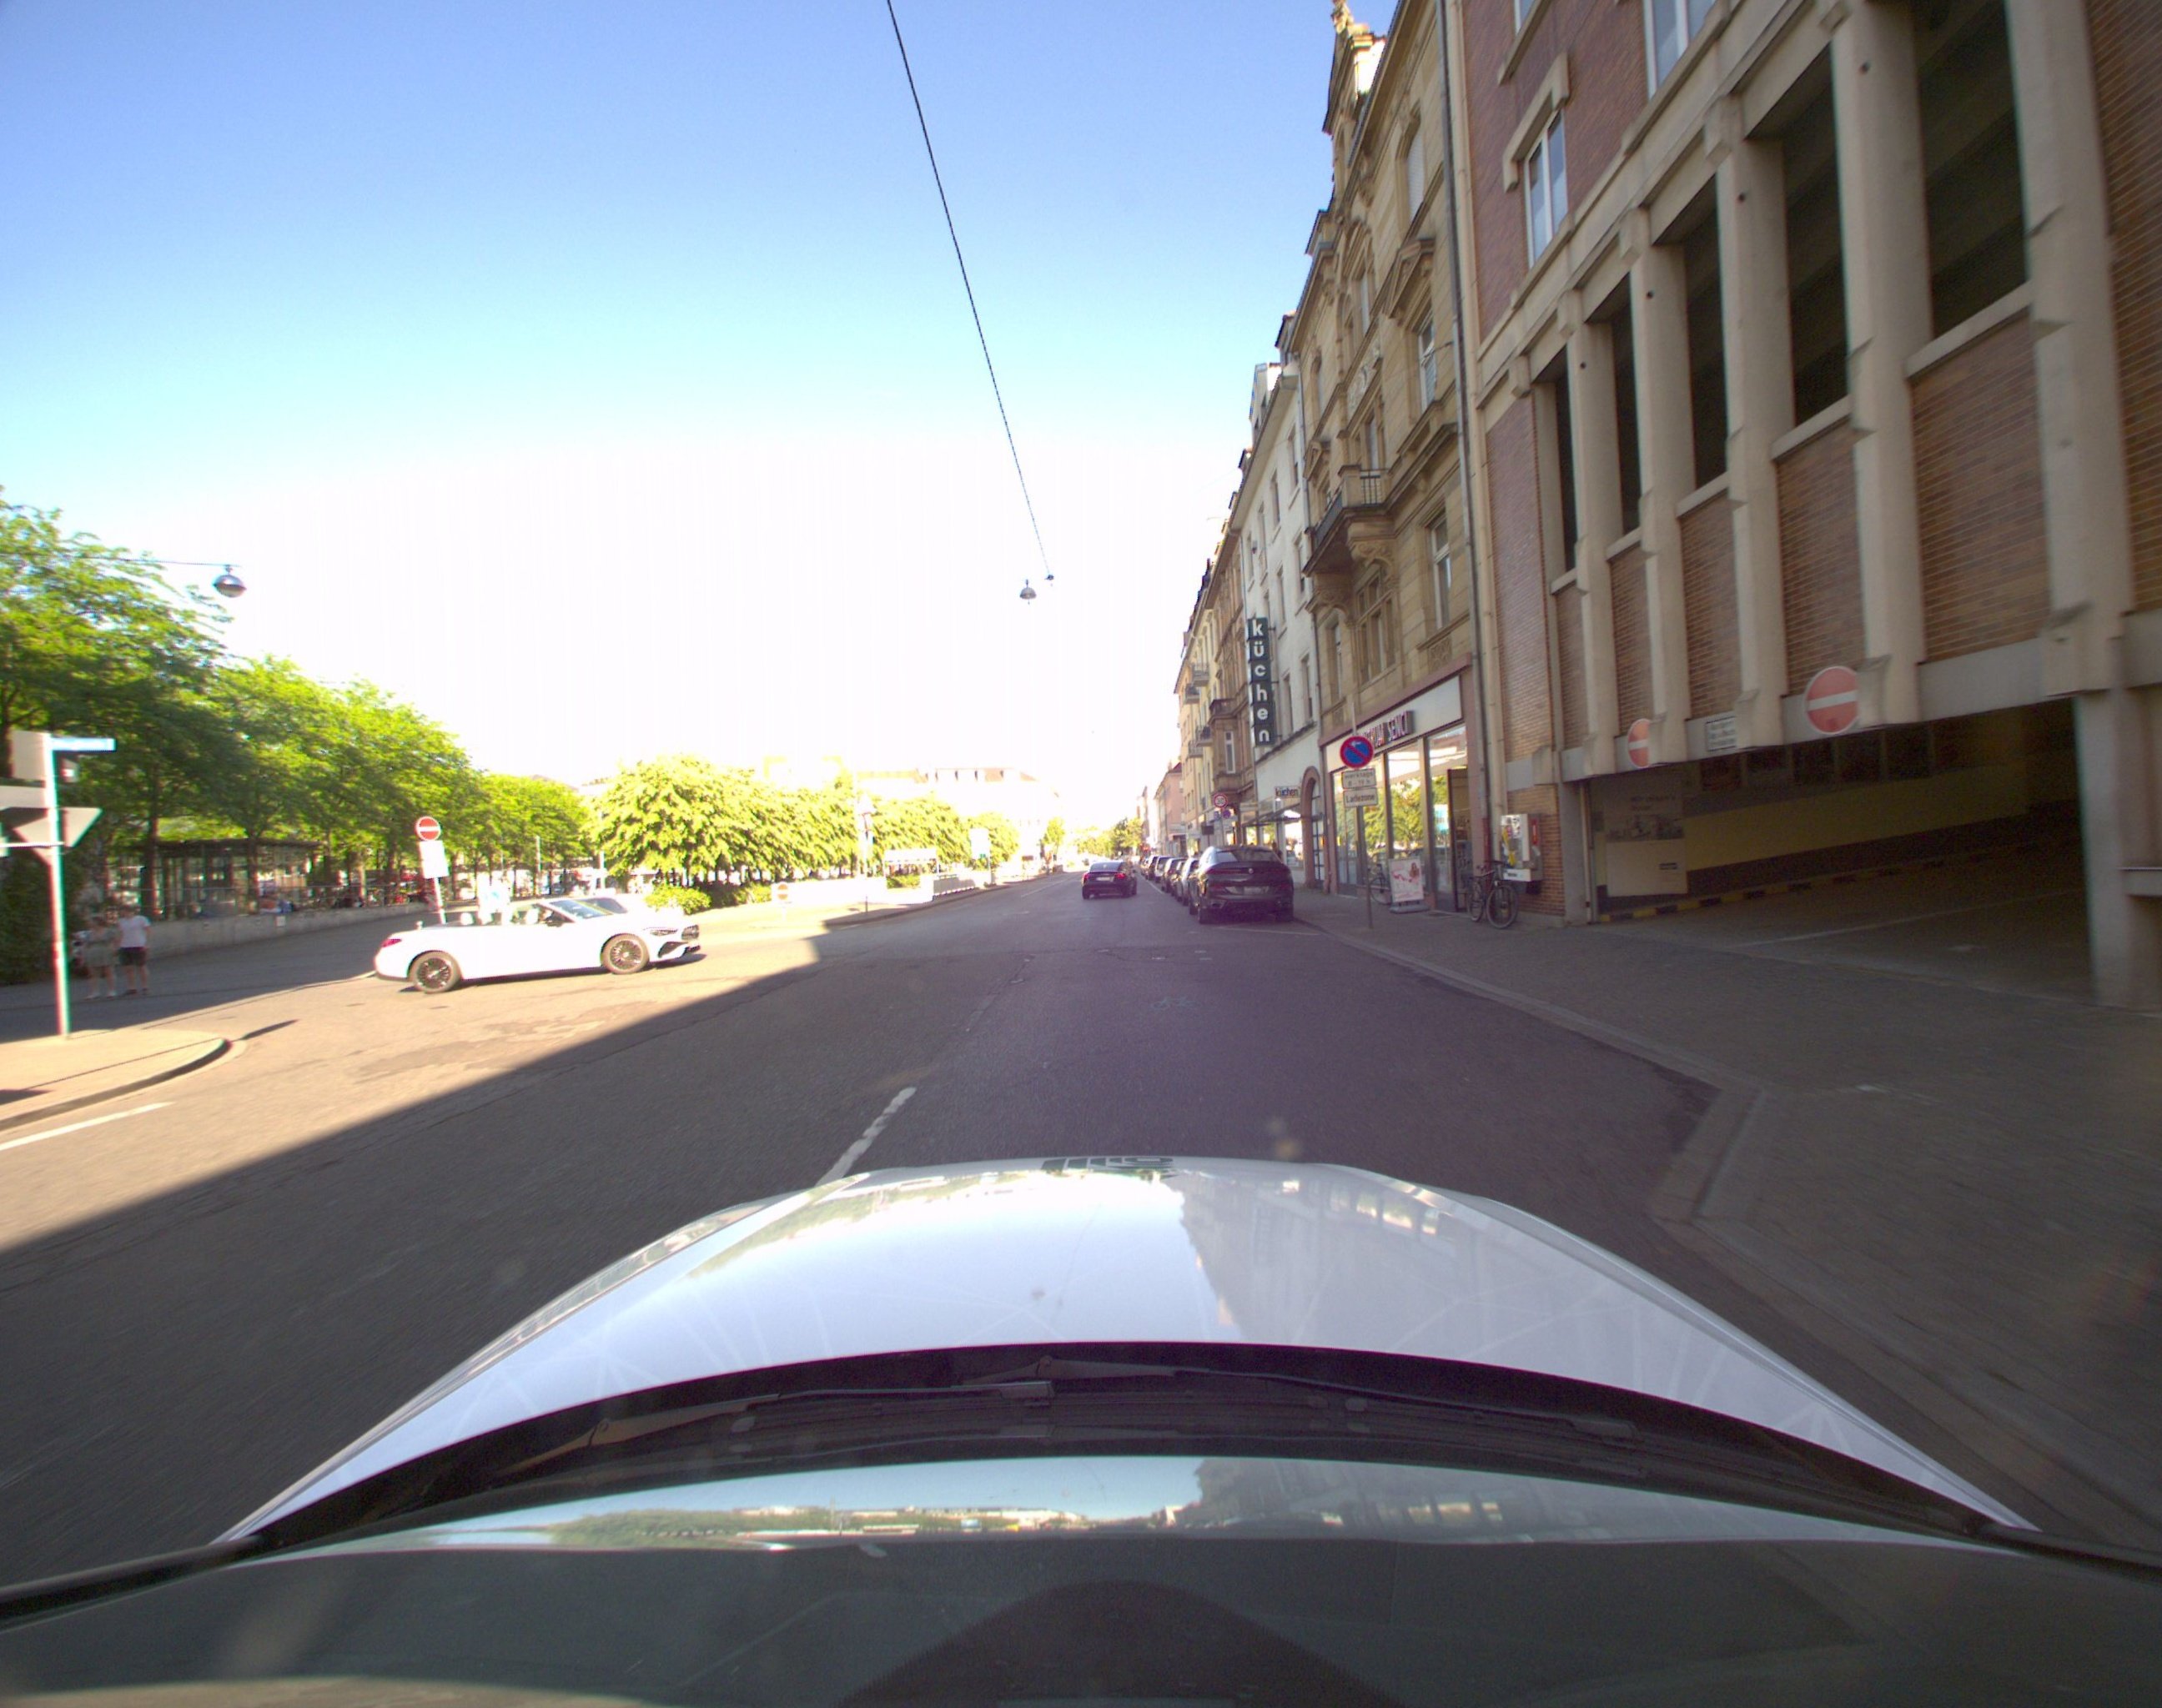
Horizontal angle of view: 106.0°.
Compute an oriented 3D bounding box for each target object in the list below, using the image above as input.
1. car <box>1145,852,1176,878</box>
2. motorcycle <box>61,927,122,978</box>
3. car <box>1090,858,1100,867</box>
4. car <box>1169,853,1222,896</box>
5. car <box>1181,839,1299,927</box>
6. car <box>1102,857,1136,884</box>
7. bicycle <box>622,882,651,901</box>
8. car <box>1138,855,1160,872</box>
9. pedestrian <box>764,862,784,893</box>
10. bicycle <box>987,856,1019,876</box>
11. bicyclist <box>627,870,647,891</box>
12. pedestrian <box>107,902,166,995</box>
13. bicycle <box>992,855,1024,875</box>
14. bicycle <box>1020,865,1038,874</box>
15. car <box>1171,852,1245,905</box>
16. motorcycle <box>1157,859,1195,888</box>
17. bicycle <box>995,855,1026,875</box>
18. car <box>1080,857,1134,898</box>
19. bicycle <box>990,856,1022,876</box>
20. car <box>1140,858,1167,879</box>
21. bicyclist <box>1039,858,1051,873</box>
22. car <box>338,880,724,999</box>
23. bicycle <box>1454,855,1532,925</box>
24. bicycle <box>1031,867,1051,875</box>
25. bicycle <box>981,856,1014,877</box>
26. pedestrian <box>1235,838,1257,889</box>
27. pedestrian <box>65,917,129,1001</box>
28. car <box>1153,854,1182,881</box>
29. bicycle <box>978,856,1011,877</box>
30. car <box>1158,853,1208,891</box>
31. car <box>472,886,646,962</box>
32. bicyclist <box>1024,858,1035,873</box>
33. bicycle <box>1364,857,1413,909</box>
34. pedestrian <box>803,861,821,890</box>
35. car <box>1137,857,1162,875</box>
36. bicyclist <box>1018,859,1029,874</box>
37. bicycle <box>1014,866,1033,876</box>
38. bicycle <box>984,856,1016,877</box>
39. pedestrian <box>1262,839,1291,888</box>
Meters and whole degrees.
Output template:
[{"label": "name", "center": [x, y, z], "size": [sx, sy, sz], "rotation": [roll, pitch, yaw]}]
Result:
[{"label": "car", "center": [5.325, 0.769, 54.653], "size": [1.710, 1.636, 4.084], "rotation": [-2, -1, 1]}, {"label": "motorcycle", "center": [-25.428, 2.535, 20.919], "size": [1.674, 1.208, 0.509], "rotation": [-4, 0, 23]}, {"label": "car", "center": [2.940, 1.690, 170.171], "size": [1.985, 1.772, 4.005], "rotation": [-2, 0, 4]}, {"label": "car", "center": [4.219, 0.732, 30.409], "size": [1.602, 1.449, 3.833], "rotation": [-2, 0, 3]}, {"label": "car", "center": [3.489, 0.566, 18.772], "size": [1.965, 1.725, 4.827], "rotation": [-2, 0, 3]}, {"label": "car", "center": [2.364, 0.961, 49.729], "size": [1.926, 1.487, 4.276], "rotation": [-2, 0, 4]}, {"label": "bicycle", "center": [-37.431, 3.130, 68.582], "size": [0.962, 1.503, 2.686], "rotation": [-2, 0, -2]}, {"label": "car", "center": [5.959, 0.856, 72.191], "size": [1.785, 1.460, 3.870], "rotation": [-2, -1, 3]}, {"label": "pedestrian", "center": [-21.311, 1.627, 56.577], "size": [0.725, 2.108, 0.973], "rotation": [-3, -1, 25]}, {"label": "bicycle", "center": [-8.027, 1.240, 84.048], "size": [3.101, 2.013, 0.912], "rotation": [-2, 0, 11]}, {"label": "bicyclist", "center": [-37.483, 2.235, 68.721], "size": [0.962, 1.700, 1.210], "rotation": [-2, 0, -3]}, {"label": "pedestrian", "center": [-19.472, 1.931, 16.802], "size": [0.589, 1.827, 0.553], "rotation": [-3, -1, -31]}, {"label": "bicycle", "center": [-7.710, 1.194, 86.160], "size": [3.101, 2.013, 0.912], "rotation": [-2, 0, 11]}, {"label": "bicycle", "center": [-6.088, 1.835, 95.356], "size": [2.006, 1.022, 0.762], "rotation": [-3, 0, -1]}, {"label": "car", "center": [3.928, 0.710, 25.795], "size": [1.831, 1.487, 4.187], "rotation": [-2, 0, 3]}, {"label": "motorcycle", "center": [4.713, 0.974, 40.226], "size": [2.056, 1.328, 0.648], "rotation": [-2, -1, -43]}, {"label": "bicycle", "center": [-7.501, 1.176, 87.196], "size": [3.101, 2.013, 0.912], "rotation": [-2, 0, 11]}, {"label": "car", "center": [1.040, 0.918, 32.800], "size": [1.988, 1.480, 4.496], "rotation": [-2, -1, 2]}, {"label": "bicycle", "center": [-7.873, 1.237, 85.126], "size": [3.101, 2.013, 0.912], "rotation": [-2, 0, 11]}, {"label": "car", "center": [5.404, 1.117, 60.930], "size": [1.785, 1.460, 4.087], "rotation": [-2, -1, 3]}, {"label": "bicyclist", "center": [-4.302, 1.365, 97.368], "size": [1.140, 1.686, 0.916], "rotation": [-3, -1, 6]}, {"label": "car", "center": [-9.236, 1.382, 14.182], "size": [5.102, 1.423, 1.993], "rotation": [-4, 0, -11]}, {"label": "bicycle", "center": [6.742, 0.549, 13.408], "size": [0.356, 1.044, 1.792], "rotation": [-5, 0, 2]}, {"label": "bicycle", "center": [-4.818, 1.998, 97.416], "size": [2.232, 0.883, 0.925], "rotation": [-3, 0, 6]}, {"label": "bicycle", "center": [-8.437, 1.247, 82.023], "size": [3.101, 2.013, 0.912], "rotation": [-2, 0, 11]}, {"label": "pedestrian", "center": [5.877, 0.339, 29.003], "size": [0.617, 1.766, 0.519], "rotation": [-3, -1, 5]}, {"label": "pedestrian", "center": [-20.116, 2.129, 16.661], "size": [0.618, 1.613, 0.577], "rotation": [-3, 0, -31]}, {"label": "car", "center": [5.194, 0.802, 49.033], "size": [1.606, 1.546, 2.858], "rotation": [-2, 0, 4]}, {"label": "bicycle", "center": [-8.599, 1.261, 81.071], "size": [3.101, 2.013, 0.912], "rotation": [-2, 0, 11]}, {"label": "car", "center": [4.467, 0.758, 36.159], "size": [1.832, 1.546, 4.230], "rotation": [-2, 0, 2]}, {"label": "car", "center": [-13.368, 1.719, 21.239], "size": [1.744, 1.422, 4.533], "rotation": [-3, 1, -3]}, {"label": "bicyclist", "center": [-6.022, 1.307, 95.367], "size": [1.143, 1.686, 0.819], "rotation": [-3, -1, -1]}, {"label": "bicycle", "center": [6.919, 0.624, 18.413], "size": [0.356, 1.085, 1.942], "rotation": [-5, 0, 2]}, {"label": "pedestrian", "center": [-20.376, 1.620, 61.629], "size": [0.725, 2.108, 0.973], "rotation": [-3, -1, 25]}, {"label": "car", "center": [5.662, 1.014, 67.801], "size": [1.786, 1.460, 3.869], "rotation": [-2, -1, 2]}, {"label": "bicyclist", "center": [-6.545, 1.417, 93.076], "size": [1.143, 1.686, 0.918], "rotation": [-3, -1, -1]}, {"label": "bicycle", "center": [-6.562, 1.947, 93.071], "size": [2.005, 1.022, 0.887], "rotation": [-3, 0, -1]}, {"label": "bicycle", "center": [-8.248, 1.232, 83.009], "size": [3.101, 2.013, 0.912], "rotation": [-2, 0, 11]}, {"label": "pedestrian", "center": [6.911, 0.340, 28.852], "size": [0.797, 1.675, 0.590], "rotation": [-5, -1, 5]}]
